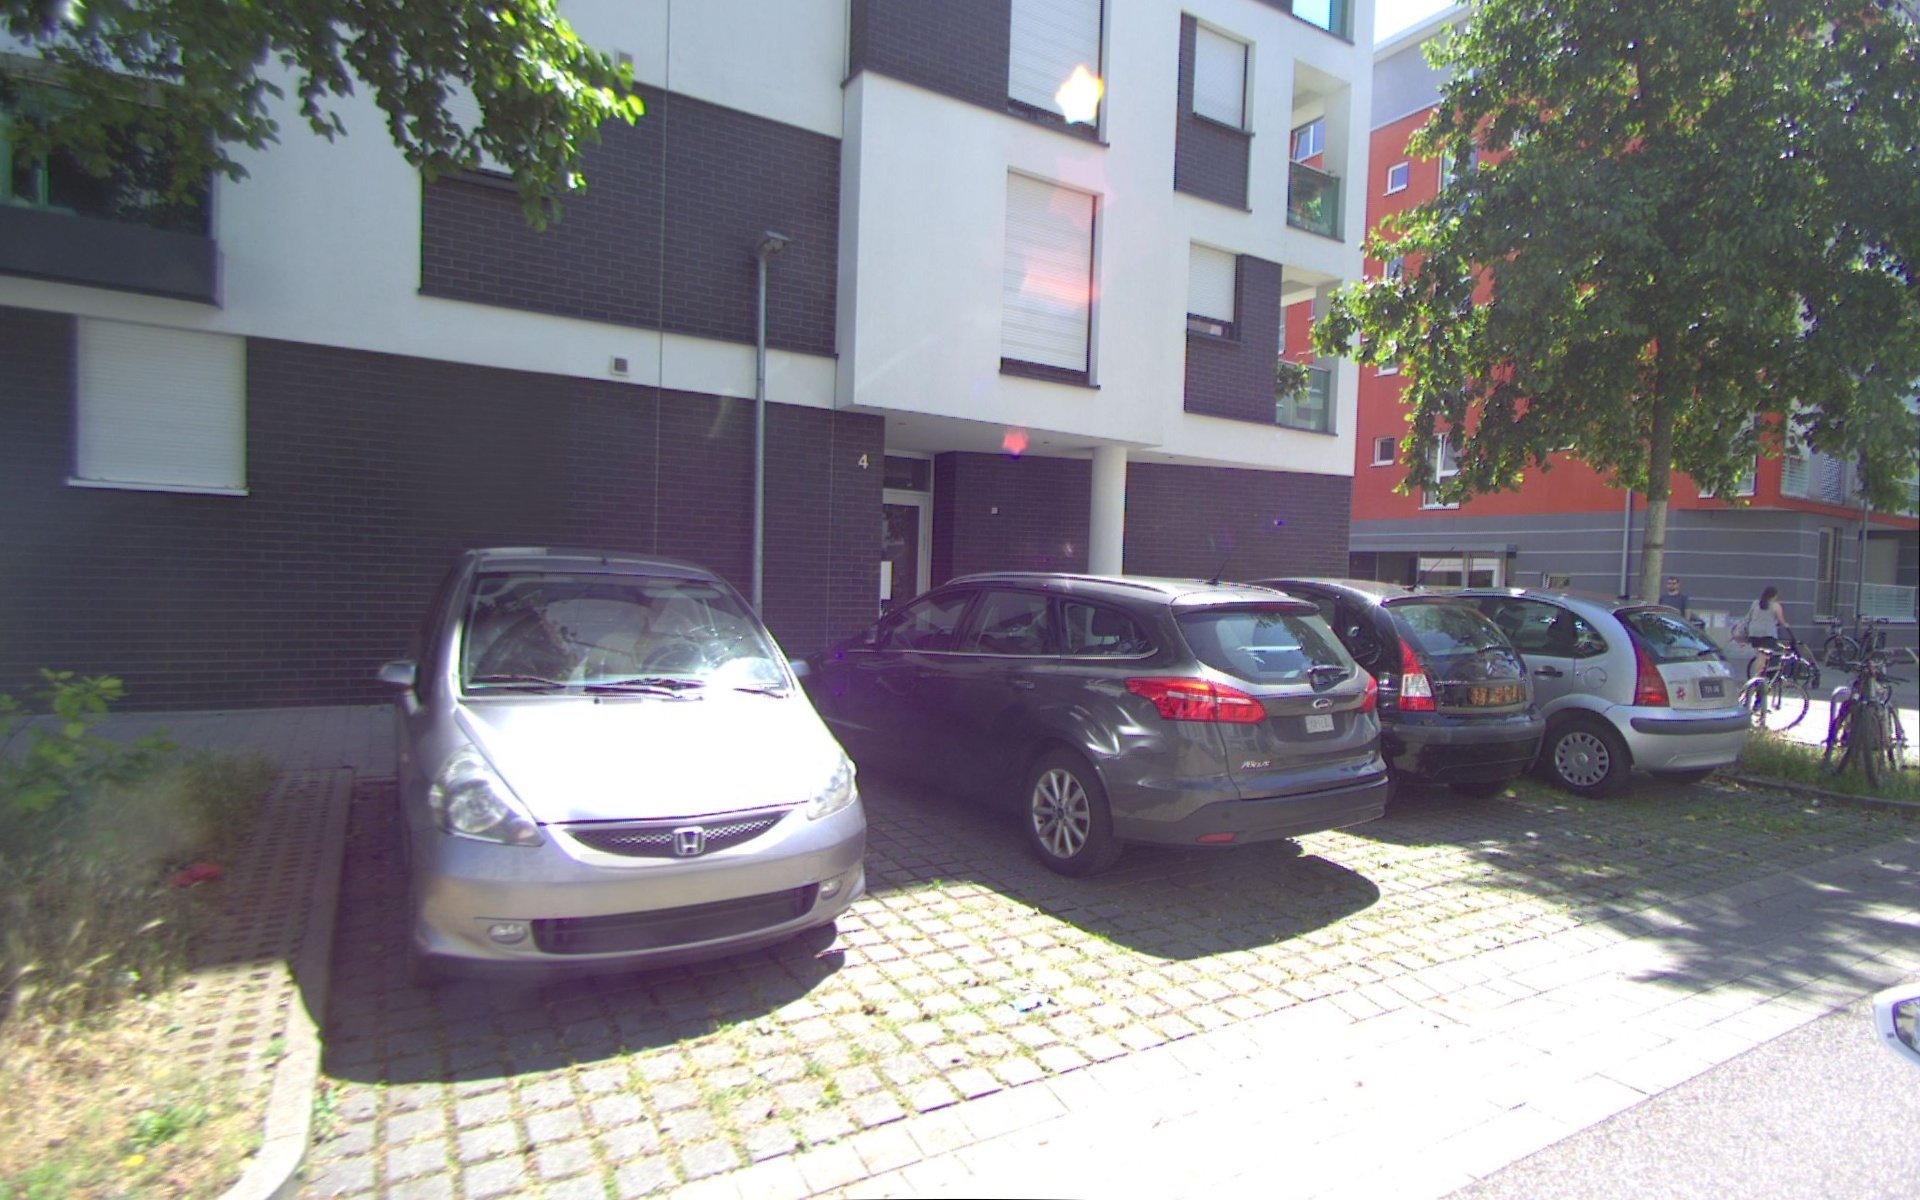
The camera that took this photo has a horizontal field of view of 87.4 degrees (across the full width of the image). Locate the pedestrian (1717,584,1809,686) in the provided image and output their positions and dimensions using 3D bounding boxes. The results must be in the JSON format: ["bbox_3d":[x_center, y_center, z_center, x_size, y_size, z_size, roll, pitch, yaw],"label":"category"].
[{"bbox_3d":[14.176,0.599,17.749,0.822,1.713,0.995,1,1,-30],"label":"pedestrian"}]

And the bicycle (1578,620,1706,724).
[{"bbox_3d":[8.278,0.830,12.174,1.822,1.151,0.703,1,1,-37],"label":"bicycle"}]

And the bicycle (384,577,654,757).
[{"bbox_3d":[-3.212,0.459,7.397,1.752,1.206,0.564,1,1,-28],"label":"bicycle"}]

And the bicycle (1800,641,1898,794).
[{"bbox_3d":[7.756,0.959,8.731,1.964,1.143,0.429,1,1,-43],"label":"bicycle"}]

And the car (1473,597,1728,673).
[{"bbox_3d":[14.480,0.710,22.994,1.916,1.402,4.545,-1,2,-33],"label":"car"}]

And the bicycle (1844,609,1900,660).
[{"bbox_3d":[23.466,0.873,25.844,1.903,1.256,0.548,1,1,-32],"label":"bicycle"}]

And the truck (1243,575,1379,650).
[{"bbox_3d":[10.436,0.294,30.081,1.543,2.041,3.709,-2,3,-33],"label":"truck"}]

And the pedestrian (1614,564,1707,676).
[{"bbox_3d":[13.329,0.365,19.135,1.115,2.041,1.005,1,1,-28],"label":"pedestrian"}]

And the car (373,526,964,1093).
[{"bbox_3d":[-1.794,0.484,4.926,1.851,1.574,3.917,1,3,-31],"label":"car"}]

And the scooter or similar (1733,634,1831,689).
[{"bbox_3d":[14.905,1.090,18.228,1.006,0.900,1.063,1,1,-29],"label":"scooter or similar"}]

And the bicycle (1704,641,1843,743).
[{"bbox_3d":[8.895,0.983,10.971,1.656,1.004,0.531,2,3,-29],"label":"bicycle"}]

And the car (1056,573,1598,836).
[{"bbox_3d":[2.639,0.604,8.199,1.778,1.575,3.970,1,1,-28],"label":"car"}]

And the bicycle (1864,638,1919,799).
[{"bbox_3d":[7.959,0.941,8.433,1.808,1.196,0.367,1,1,-43],"label":"bicycle"}]

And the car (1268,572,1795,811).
[{"bbox_3d":[4.799,0.604,8.950,1.810,1.541,3.612,1,3,-30],"label":"car"}]

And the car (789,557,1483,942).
[{"bbox_3d":[0.696,0.565,6.334,1.939,1.506,4.154,2,2,-34],"label":"car"}]

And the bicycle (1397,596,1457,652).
[{"bbox_3d":[12.468,0.604,26.902,0.669,1.397,2.351,2,1,5],"label":"bicycle"}]

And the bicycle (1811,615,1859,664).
[{"bbox_3d":[21.286,0.938,24.426,2.090,1.122,0.601,1,2,-42],"label":"bicycle"}]
